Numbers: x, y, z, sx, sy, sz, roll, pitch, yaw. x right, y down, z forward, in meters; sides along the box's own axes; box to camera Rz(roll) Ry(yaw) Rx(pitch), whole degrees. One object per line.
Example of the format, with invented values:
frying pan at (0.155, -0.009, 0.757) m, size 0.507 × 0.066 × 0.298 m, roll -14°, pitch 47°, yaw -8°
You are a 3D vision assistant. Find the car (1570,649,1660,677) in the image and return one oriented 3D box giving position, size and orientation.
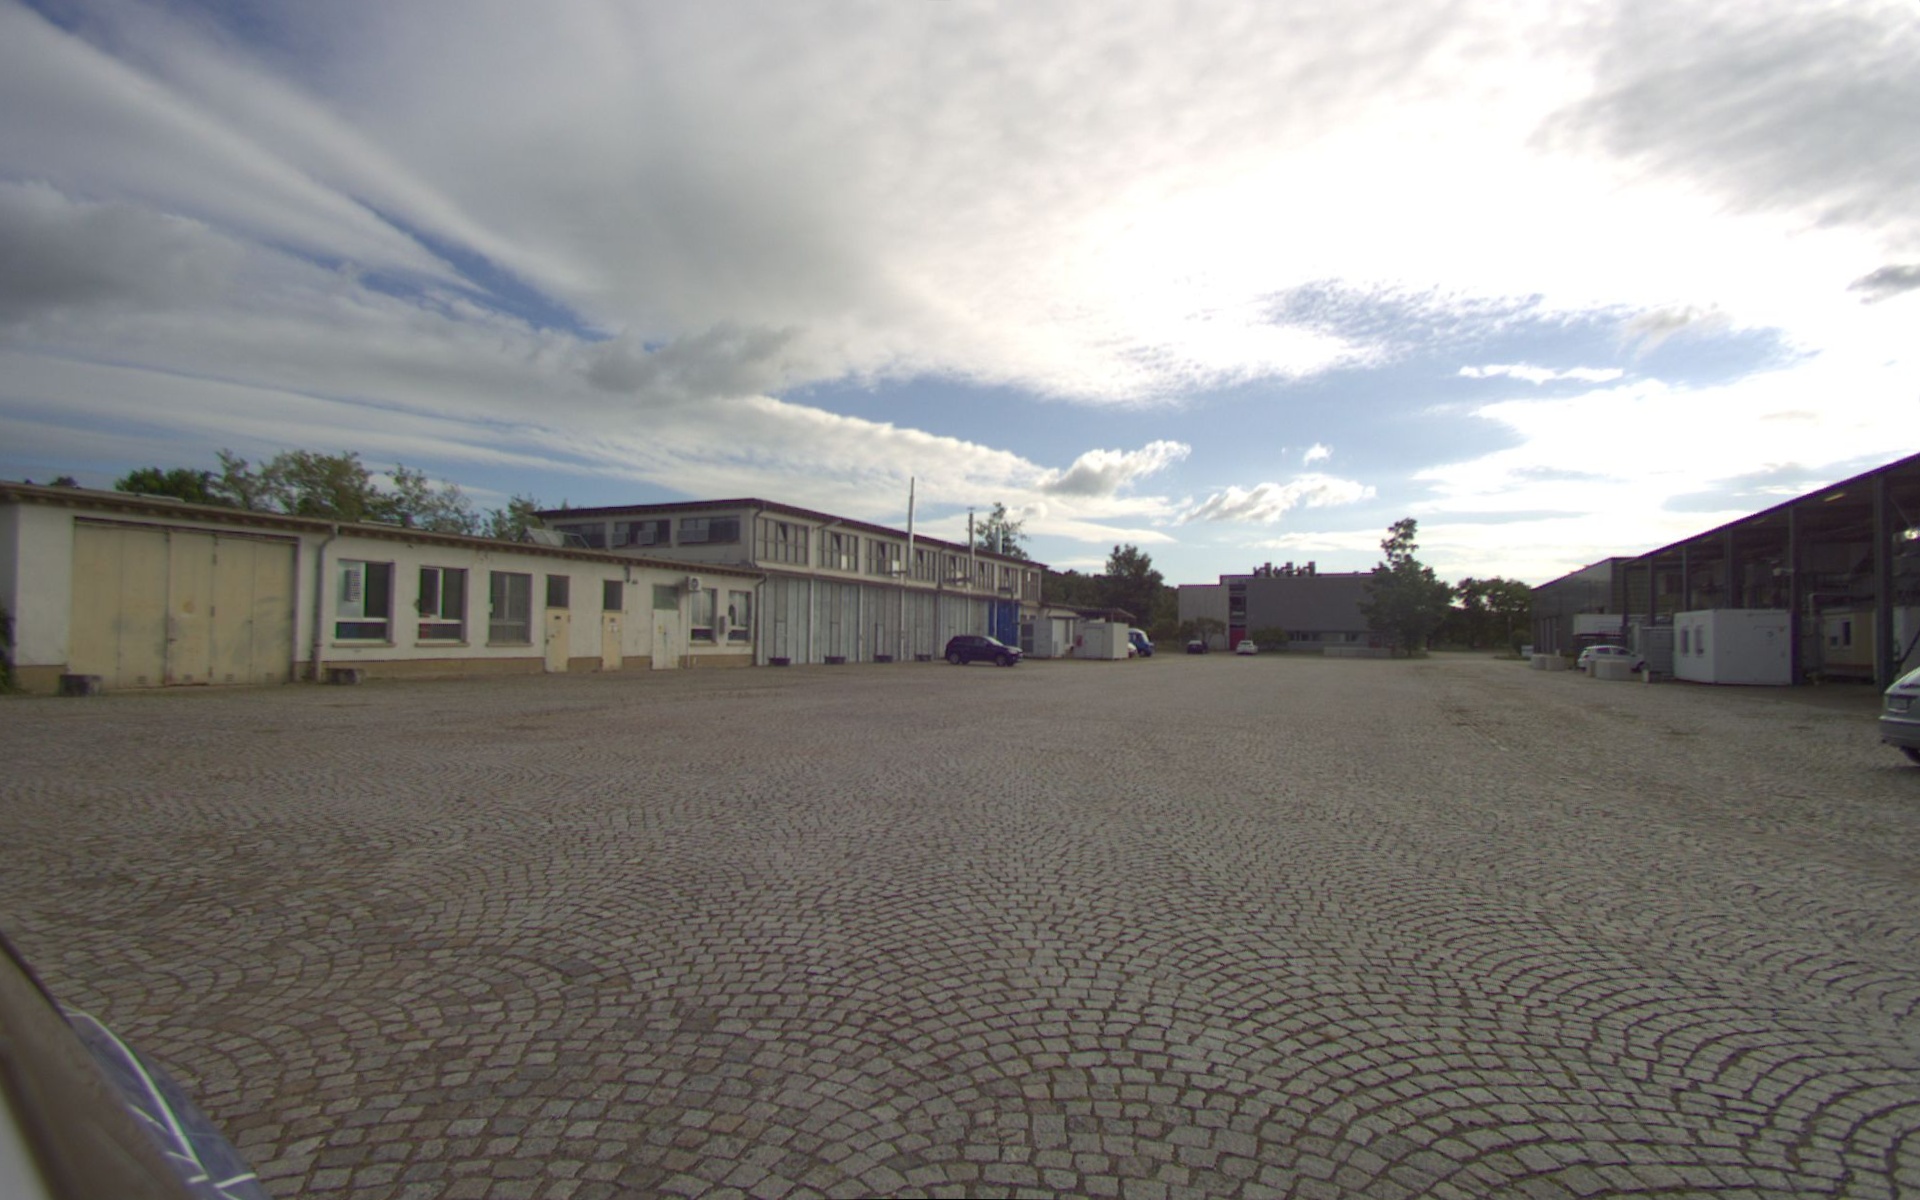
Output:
car at (37.590, 3.602, 58.214) m, size 3.974 × 1.503 × 1.985 m, roll -1°, pitch -3°, yaw 23°

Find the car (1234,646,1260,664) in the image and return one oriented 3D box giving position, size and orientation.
car at (30.236, 5.801, 106.613) m, size 2.140 × 1.824 × 3.969 m, roll -1°, pitch -3°, yaw 23°

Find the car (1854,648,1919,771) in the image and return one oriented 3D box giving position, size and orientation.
car at (13.777, 1.305, 12.185) m, size 4.019 × 1.487 × 1.898 m, roll -2°, pitch -3°, yaw 22°

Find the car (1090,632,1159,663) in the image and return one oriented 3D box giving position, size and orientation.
car at (14.323, 4.139, 88.235) m, size 5.595 × 2.635 × 2.433 m, roll -1°, pitch -3°, yaw 23°

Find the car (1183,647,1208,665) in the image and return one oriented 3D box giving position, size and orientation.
car at (25.265, 5.962, 108.348) m, size 1.987 × 1.824 × 3.969 m, roll -1°, pitch -3°, yaw 23°

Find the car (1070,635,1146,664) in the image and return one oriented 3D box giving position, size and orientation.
car at (11.711, 3.920, 80.037) m, size 5.595 × 2.236 × 2.433 m, roll -1°, pitch -3°, yaw 23°

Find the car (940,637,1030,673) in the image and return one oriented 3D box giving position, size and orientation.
car at (1.339, 2.970, 54.523) m, size 4.408 × 1.770 × 1.984 m, roll -1°, pitch -6°, yaw 24°
